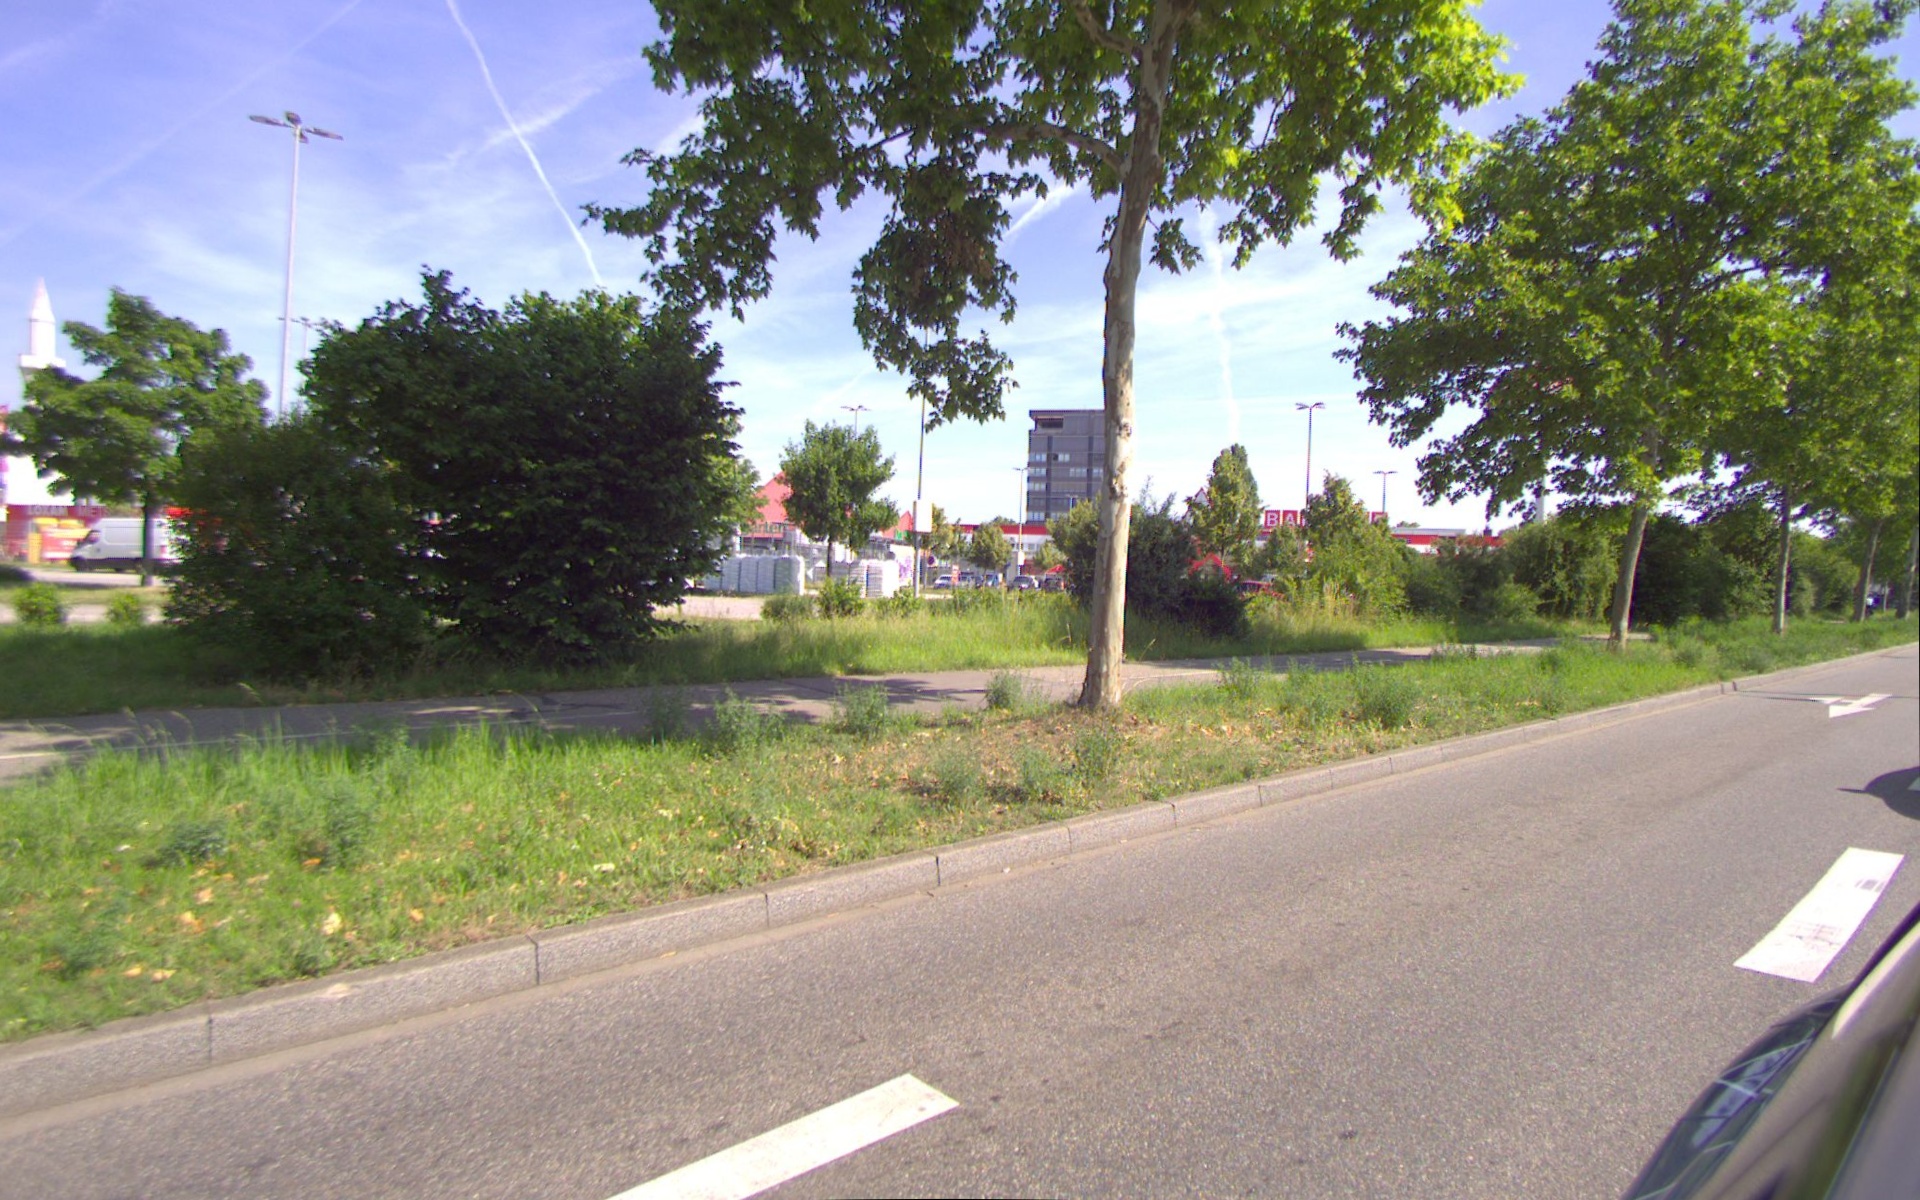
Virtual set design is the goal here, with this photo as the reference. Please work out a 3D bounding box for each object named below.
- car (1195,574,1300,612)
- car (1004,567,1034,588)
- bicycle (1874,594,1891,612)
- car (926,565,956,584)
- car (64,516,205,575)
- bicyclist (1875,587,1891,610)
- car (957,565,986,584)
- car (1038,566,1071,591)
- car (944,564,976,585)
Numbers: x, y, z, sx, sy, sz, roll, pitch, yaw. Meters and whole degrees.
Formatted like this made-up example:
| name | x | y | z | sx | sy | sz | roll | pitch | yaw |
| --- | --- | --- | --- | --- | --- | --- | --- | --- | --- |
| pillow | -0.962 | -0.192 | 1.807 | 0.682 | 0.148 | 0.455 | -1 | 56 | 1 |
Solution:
| name | x | y | z | sx | sy | sz | roll | pitch | yaw |
| --- | --- | --- | --- | --- | --- | --- | --- | --- | --- |
| car | 11.150 | -0.310 | 39.350 | 3.553 | 1.315 | 1.740 | 3 | 3 | 43 |
| car | 4.727 | -1.837 | 80.701 | 1.665 | 1.593 | 3.985 | 2 | 2 | 13 |
| bicycle | 68.217 | 0.226 | 74.829 | 1.900 | 1.252 | 0.686 | 0 | 2 | -41 |
| car | -1.613 | -2.241 | 88.191 | 1.665 | 1.593 | 3.985 | 2 | 2 | 13 |
| car | -38.573 | -2.568 | 47.333 | 5.601 | 2.572 | 2.013 | 2 | 3 | 12 |
| bicyclist | 68.252 | -0.125 | 74.843 | 0.984 | 1.651 | 0.686 | 0 | 2 | -41 |
| car | 1.040 | -2.193 | 87.422 | 1.665 | 1.593 | 3.985 | 2 | 2 | 13 |
| car | 6.392 | -1.459 | 68.483 | 1.665 | 1.593 | 3.985 | 2 | 2 | 13 |
| car | 0.035 | -2.044 | 81.777 | 1.665 | 1.593 | 3.985 | 2 | 2 | 13 |
